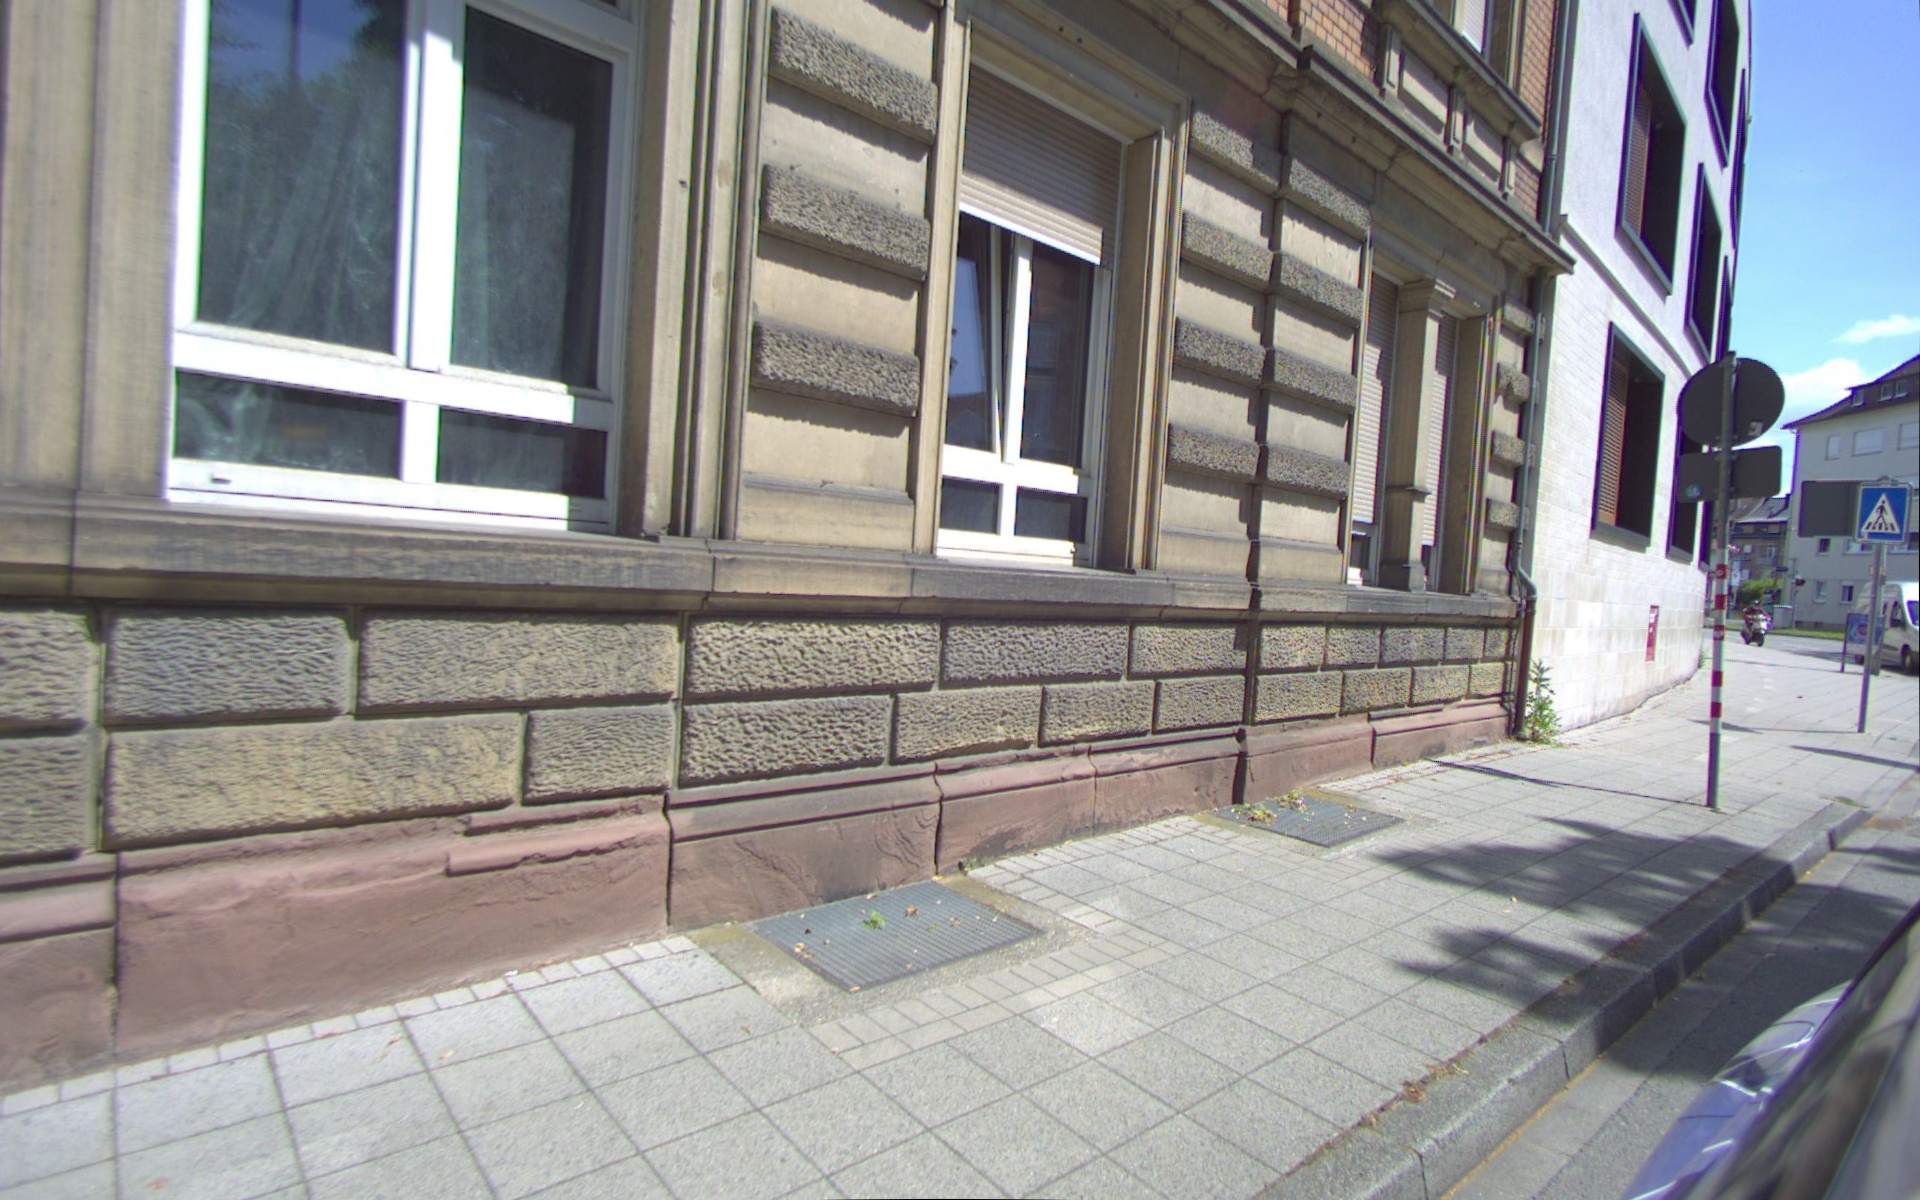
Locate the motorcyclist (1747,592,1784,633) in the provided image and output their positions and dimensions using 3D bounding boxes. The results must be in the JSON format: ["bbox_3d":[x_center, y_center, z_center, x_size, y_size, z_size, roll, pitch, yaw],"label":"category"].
[{"bbox_3d":[27.906,0.431,35.066,0.729,1.353,1.159,3,1,29],"label":"motorcyclist"}]

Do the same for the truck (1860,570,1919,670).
[{"bbox_3d":[24.165,0.502,24.869,2.008,2.275,5.346,6,4,32],"label":"truck"}]

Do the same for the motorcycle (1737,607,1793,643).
[{"bbox_3d":[27.847,0.838,35.052,1.048,1.093,2.590,3,2,29],"label":"motorcycle"}]
